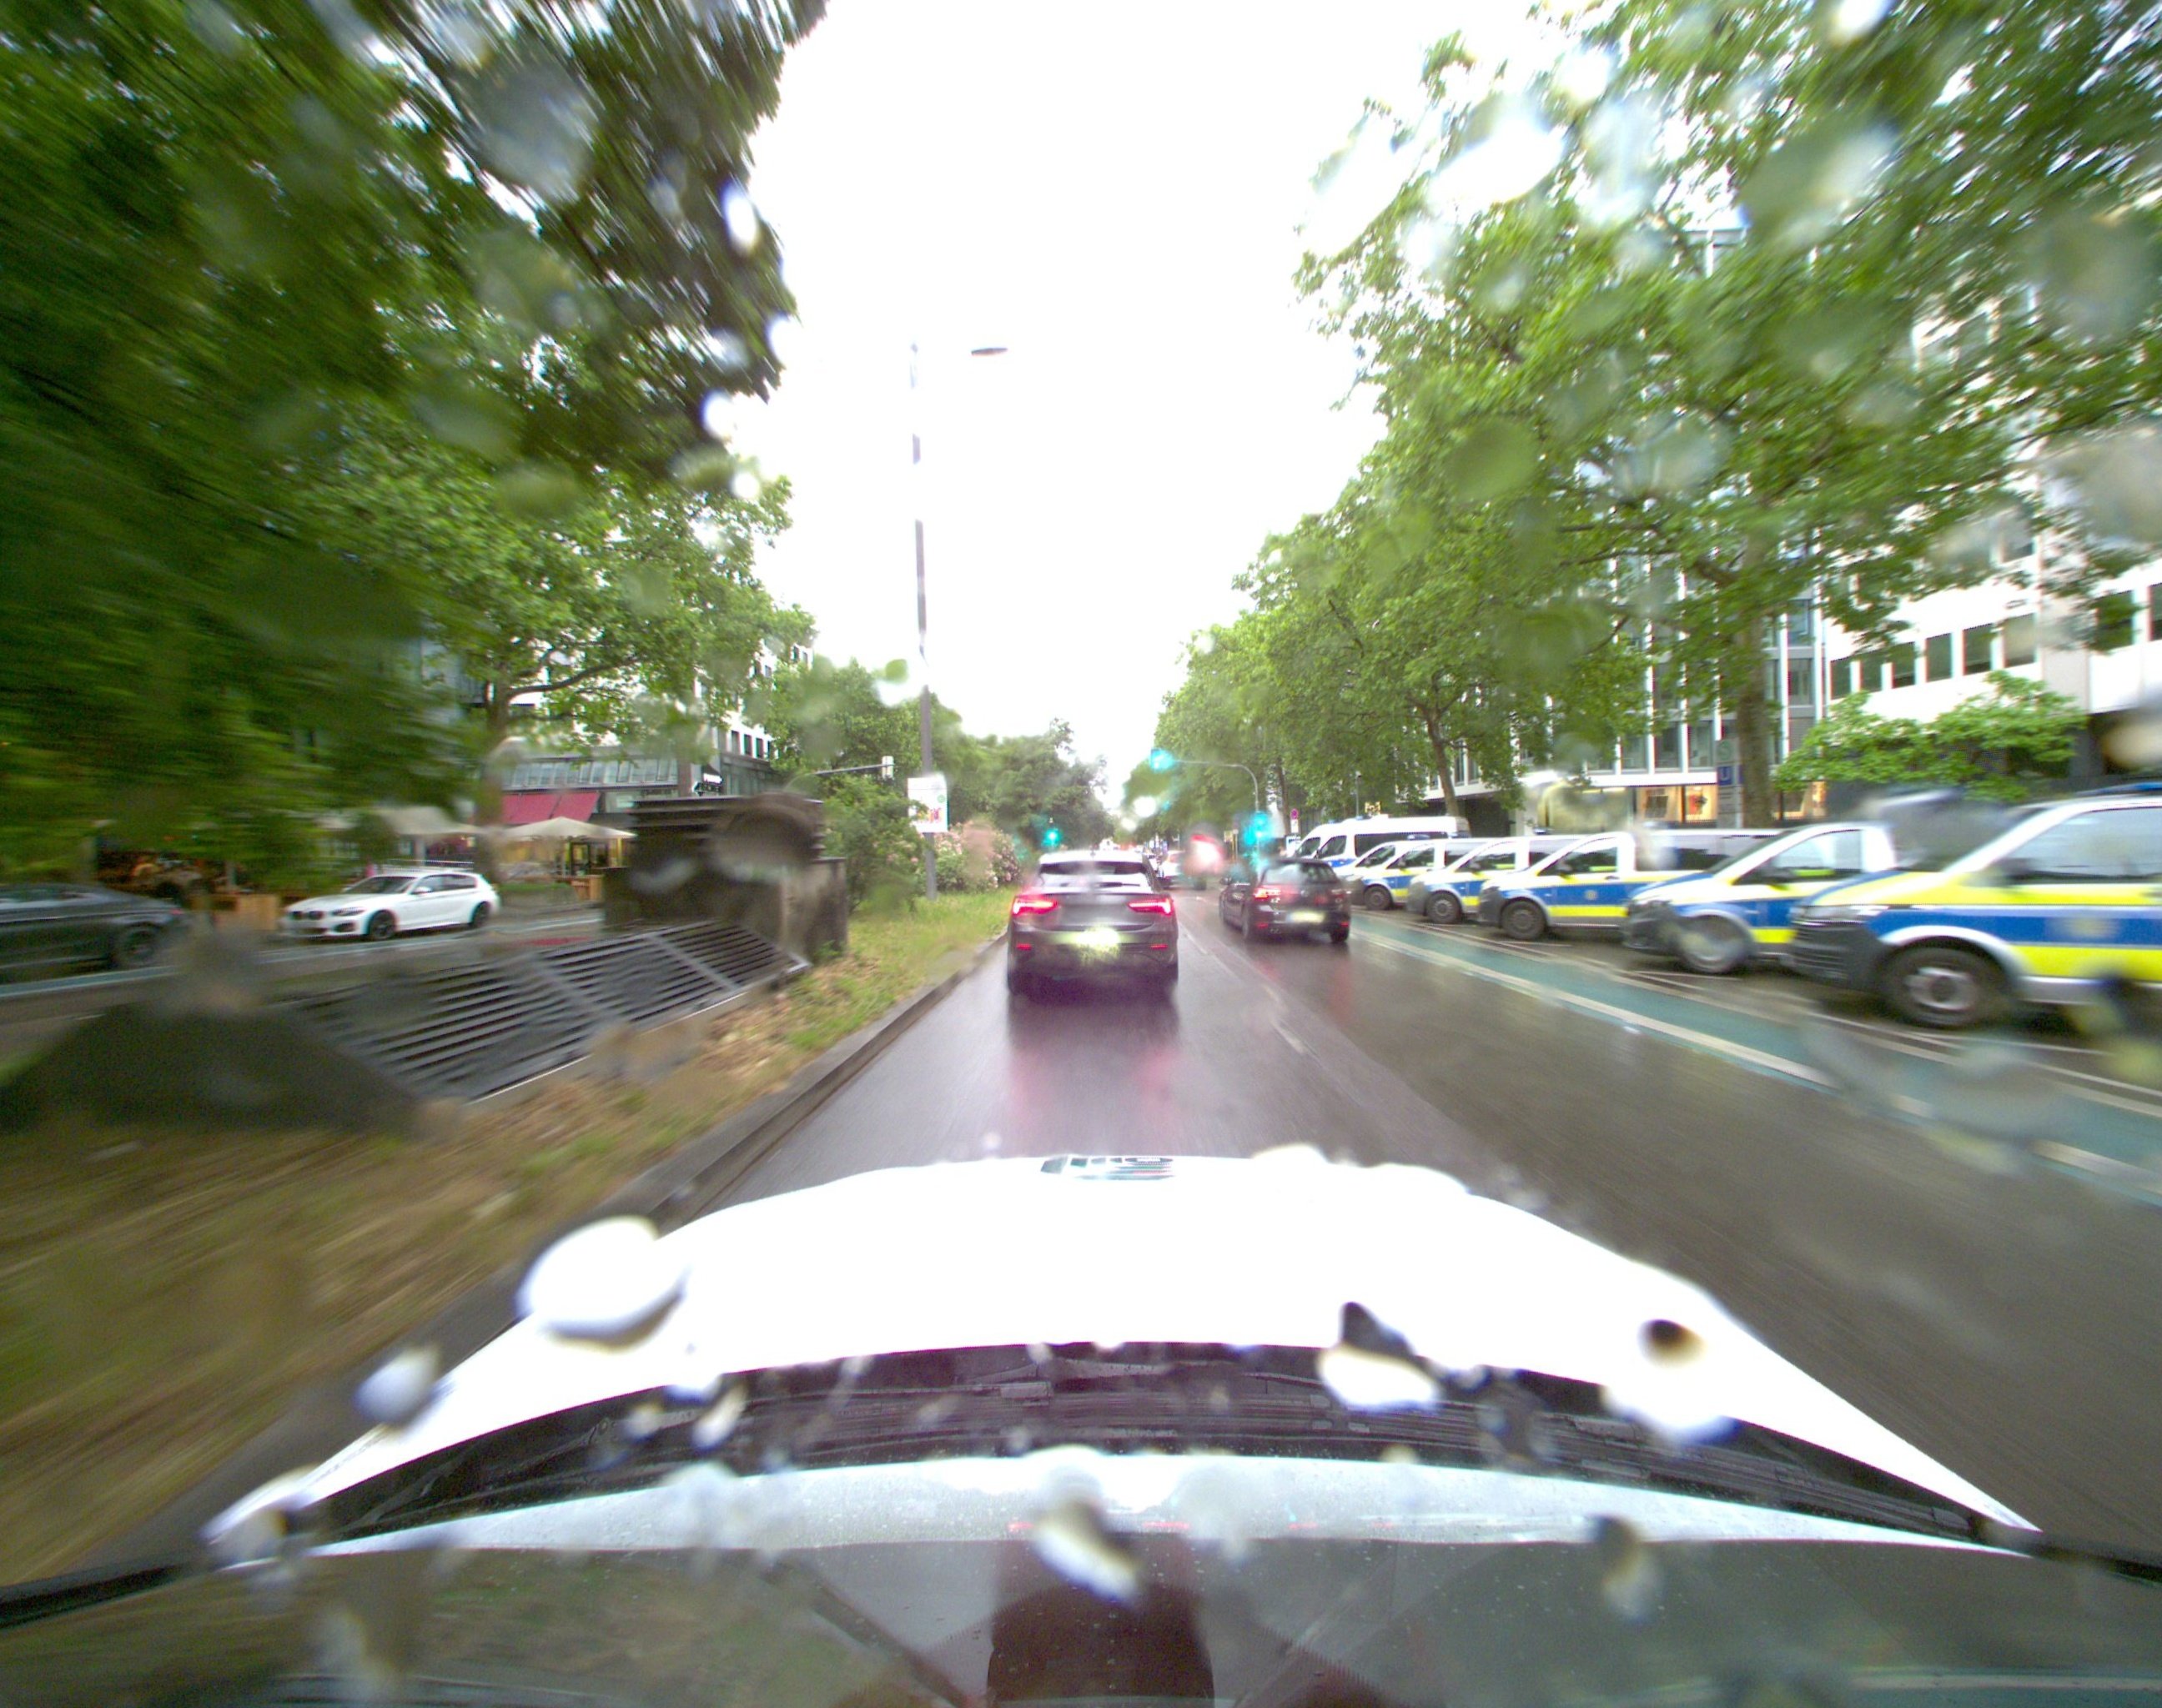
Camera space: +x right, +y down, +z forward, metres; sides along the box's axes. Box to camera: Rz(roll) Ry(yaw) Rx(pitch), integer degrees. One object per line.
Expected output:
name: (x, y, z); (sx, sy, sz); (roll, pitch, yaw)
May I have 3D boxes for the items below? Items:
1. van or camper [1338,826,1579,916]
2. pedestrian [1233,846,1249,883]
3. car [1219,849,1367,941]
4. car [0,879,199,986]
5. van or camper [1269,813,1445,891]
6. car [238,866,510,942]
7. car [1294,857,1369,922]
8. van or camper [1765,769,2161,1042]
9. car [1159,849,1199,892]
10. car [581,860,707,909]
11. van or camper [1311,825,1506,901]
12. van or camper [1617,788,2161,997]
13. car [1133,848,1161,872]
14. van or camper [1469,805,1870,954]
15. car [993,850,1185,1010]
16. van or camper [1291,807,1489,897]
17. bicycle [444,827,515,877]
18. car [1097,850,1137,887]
van or camper: (9.309, 0.383, 20.309); (5.142, 1.992, 2.013); (0, -1, 36)
pedestrian: (8.105, 0.515, 41.323); (0.605, 1.831, 0.563); (-1, 0, -8)
car: (3.731, 0.644, 15.013); (1.758, 1.413, 4.002); (-2, 0, 2)
car: (-15.825, 1.135, 11.466); (1.818, 1.394, 4.486); (-1, 0, 2)
van or camper: (10.164, -0.043, 30.286); (5.741, 2.677, 2.161); (-1, 0, 39)
car: (-15.489, 1.006, 18.274); (1.986, 1.370, 4.542); (1, 0, 2)
car: (5.935, 0.801, 19.512); (1.046, 1.387, 2.695); (-2, 0, 2)
van or camper: (8.746, 0.373, 6.651); (4.733, 2.011, 2.013); (-1, -1, 38)
car: (4.106, 0.668, 34.406); (1.427, 1.685, 2.981); (-2, 0, 2)
car: (-15.279, 1.012, 28.804); (1.987, 1.509, 4.517); (-2, 0, 0)
van or camper: (9.555, 0.306, 23.974); (4.952, 2.014, 2.013); (-2, -1, 37)
van or camper: (9.380, 0.393, 9.678); (4.959, 1.995, 2.013); (-1, 0, 34)
car: (5.095, 0.469, 63.532); (1.986, 1.750, 4.002); (-2, 0, 2)
van or camper: (9.443, 0.362, 13.515); (5.042, 2.025, 2.119); (-1, 0, 39)
car: (0.204, 0.741, 10.255); (1.855, 1.532, 4.530); (-1, 0, 3)
van or camper: (10.087, -0.025, 26.882); (5.736, 2.680, 2.013); (-1, 0, 37)
bicycle: (-24.982, -0.079, 33.829); (2.378, 2.013, 0.690); (-2, 0, -1)
car: (1.656, 0.648, 37.768); (1.715, 1.577, 3.963); (-1, 0, 2)
